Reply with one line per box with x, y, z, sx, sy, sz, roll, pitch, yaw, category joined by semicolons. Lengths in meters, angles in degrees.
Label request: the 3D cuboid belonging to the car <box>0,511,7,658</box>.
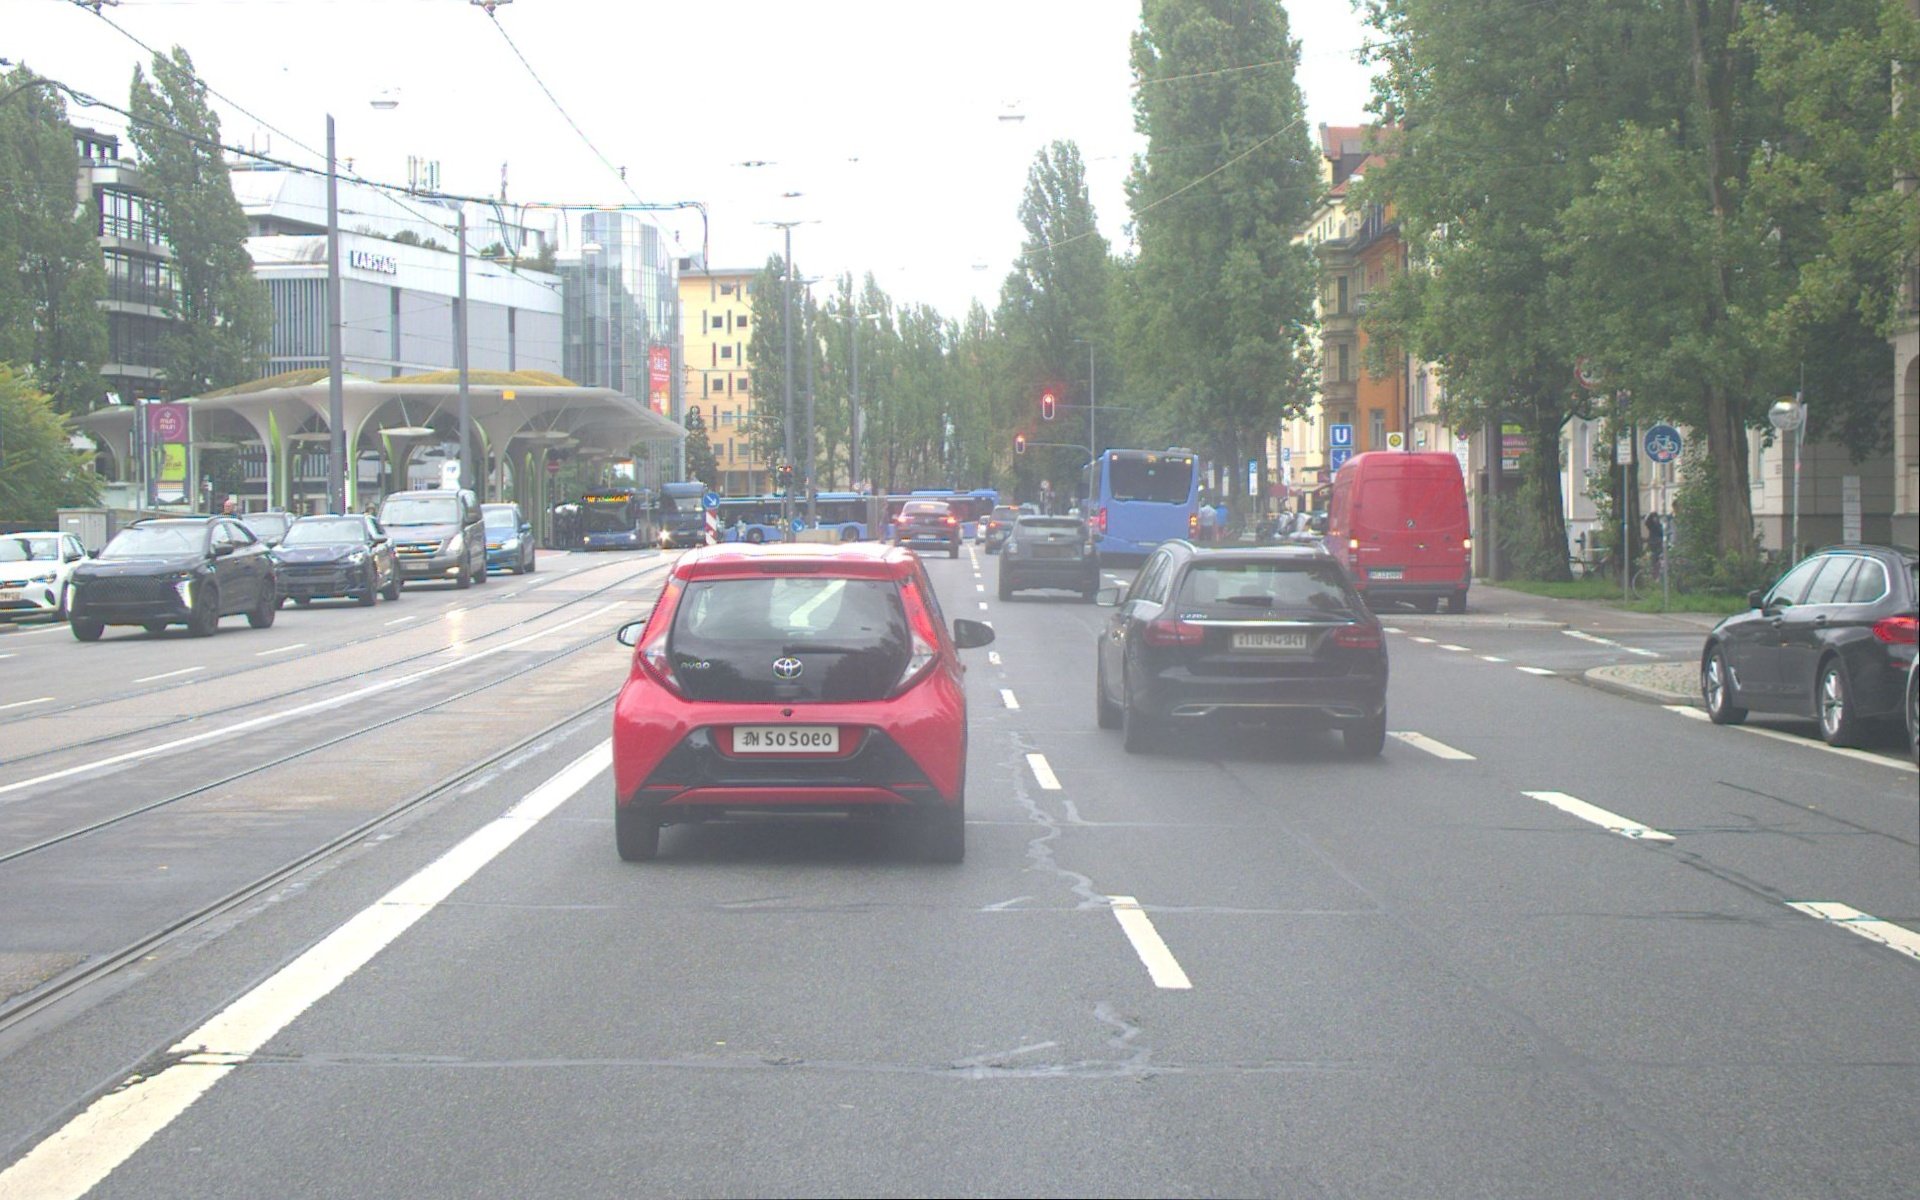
-12.831;-0.104;39.718;1.800;1.782;4.518;-2;1;8;car

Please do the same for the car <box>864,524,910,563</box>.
-2.892;-2.251;136.237;1.781;1.481;4.000;0;1;-1;car

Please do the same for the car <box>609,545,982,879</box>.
-0.826;0.471;16.879;1.628;1.435;3.377;1;1;-3;car

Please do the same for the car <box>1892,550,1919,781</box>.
7.199;0.455;21.148;1.799;1.503;4.000;0;1;-1;car

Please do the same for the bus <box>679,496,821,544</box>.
-12.603;-4.833;206.500;8.465;2.836;2.001;0;3;-4;bus

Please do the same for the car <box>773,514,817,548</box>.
-7.222;-3.029;150.427;1.781;1.481;4.000;0;1;-1;car

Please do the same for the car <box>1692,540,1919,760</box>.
7.079;0.309;26.158;1.799;1.503;4.451;0;1;-4;car

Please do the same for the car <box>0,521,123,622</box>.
-15.002;-0.471;56.059;1.799;1.525;4.520;-2;1;-3;car

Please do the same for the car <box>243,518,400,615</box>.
-10.928;-0.599;59.153;1.799;1.525;4.519;-2;1;0;car

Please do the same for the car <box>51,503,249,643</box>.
-11.248;-0.406;48.019;1.799;1.782;4.519;-2;1;-2;car

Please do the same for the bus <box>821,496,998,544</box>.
-3.076;-4.854;207.182;10.554;2.836;2.001;0;3;-4;bus

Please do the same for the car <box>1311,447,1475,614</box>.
6.992;-1.192;55.946;1.993;2.565;4.680;0;3;-1;car

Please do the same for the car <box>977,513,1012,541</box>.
1.868;-3.962;186.983;1.781;1.481;4.000;0;1;-1;car

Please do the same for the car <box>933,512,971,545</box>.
-0.431;-3.856;185.110;1.804;1.590;3.999;0;-1;3;car

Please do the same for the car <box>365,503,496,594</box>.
-10.330;-1.022;67.330;1.799;1.659;4.519;-2;1;0;car

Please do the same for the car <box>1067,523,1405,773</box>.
1.882;0.260;24.819;1.863;1.543;4.704;-1;2;-2;car

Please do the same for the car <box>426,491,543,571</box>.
-10.607;-1.550;76.936;1.799;1.659;4.519;-2;1;2;car

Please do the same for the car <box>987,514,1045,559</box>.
1.838;-2.115;114.003;1.781;1.481;4.000;0;1;-1;car

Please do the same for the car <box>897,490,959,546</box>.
-0.943;-2.366;99.275;1.736;1.544;4.577;-1;1;-1;car

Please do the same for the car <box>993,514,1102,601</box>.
1.529;-0.775;61.279;1.781;1.481;4.000;0;1;-1;car

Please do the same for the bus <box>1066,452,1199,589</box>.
4.578;-2.249;93.203;2.906;3.384;10.807;0;3;-1;bus
